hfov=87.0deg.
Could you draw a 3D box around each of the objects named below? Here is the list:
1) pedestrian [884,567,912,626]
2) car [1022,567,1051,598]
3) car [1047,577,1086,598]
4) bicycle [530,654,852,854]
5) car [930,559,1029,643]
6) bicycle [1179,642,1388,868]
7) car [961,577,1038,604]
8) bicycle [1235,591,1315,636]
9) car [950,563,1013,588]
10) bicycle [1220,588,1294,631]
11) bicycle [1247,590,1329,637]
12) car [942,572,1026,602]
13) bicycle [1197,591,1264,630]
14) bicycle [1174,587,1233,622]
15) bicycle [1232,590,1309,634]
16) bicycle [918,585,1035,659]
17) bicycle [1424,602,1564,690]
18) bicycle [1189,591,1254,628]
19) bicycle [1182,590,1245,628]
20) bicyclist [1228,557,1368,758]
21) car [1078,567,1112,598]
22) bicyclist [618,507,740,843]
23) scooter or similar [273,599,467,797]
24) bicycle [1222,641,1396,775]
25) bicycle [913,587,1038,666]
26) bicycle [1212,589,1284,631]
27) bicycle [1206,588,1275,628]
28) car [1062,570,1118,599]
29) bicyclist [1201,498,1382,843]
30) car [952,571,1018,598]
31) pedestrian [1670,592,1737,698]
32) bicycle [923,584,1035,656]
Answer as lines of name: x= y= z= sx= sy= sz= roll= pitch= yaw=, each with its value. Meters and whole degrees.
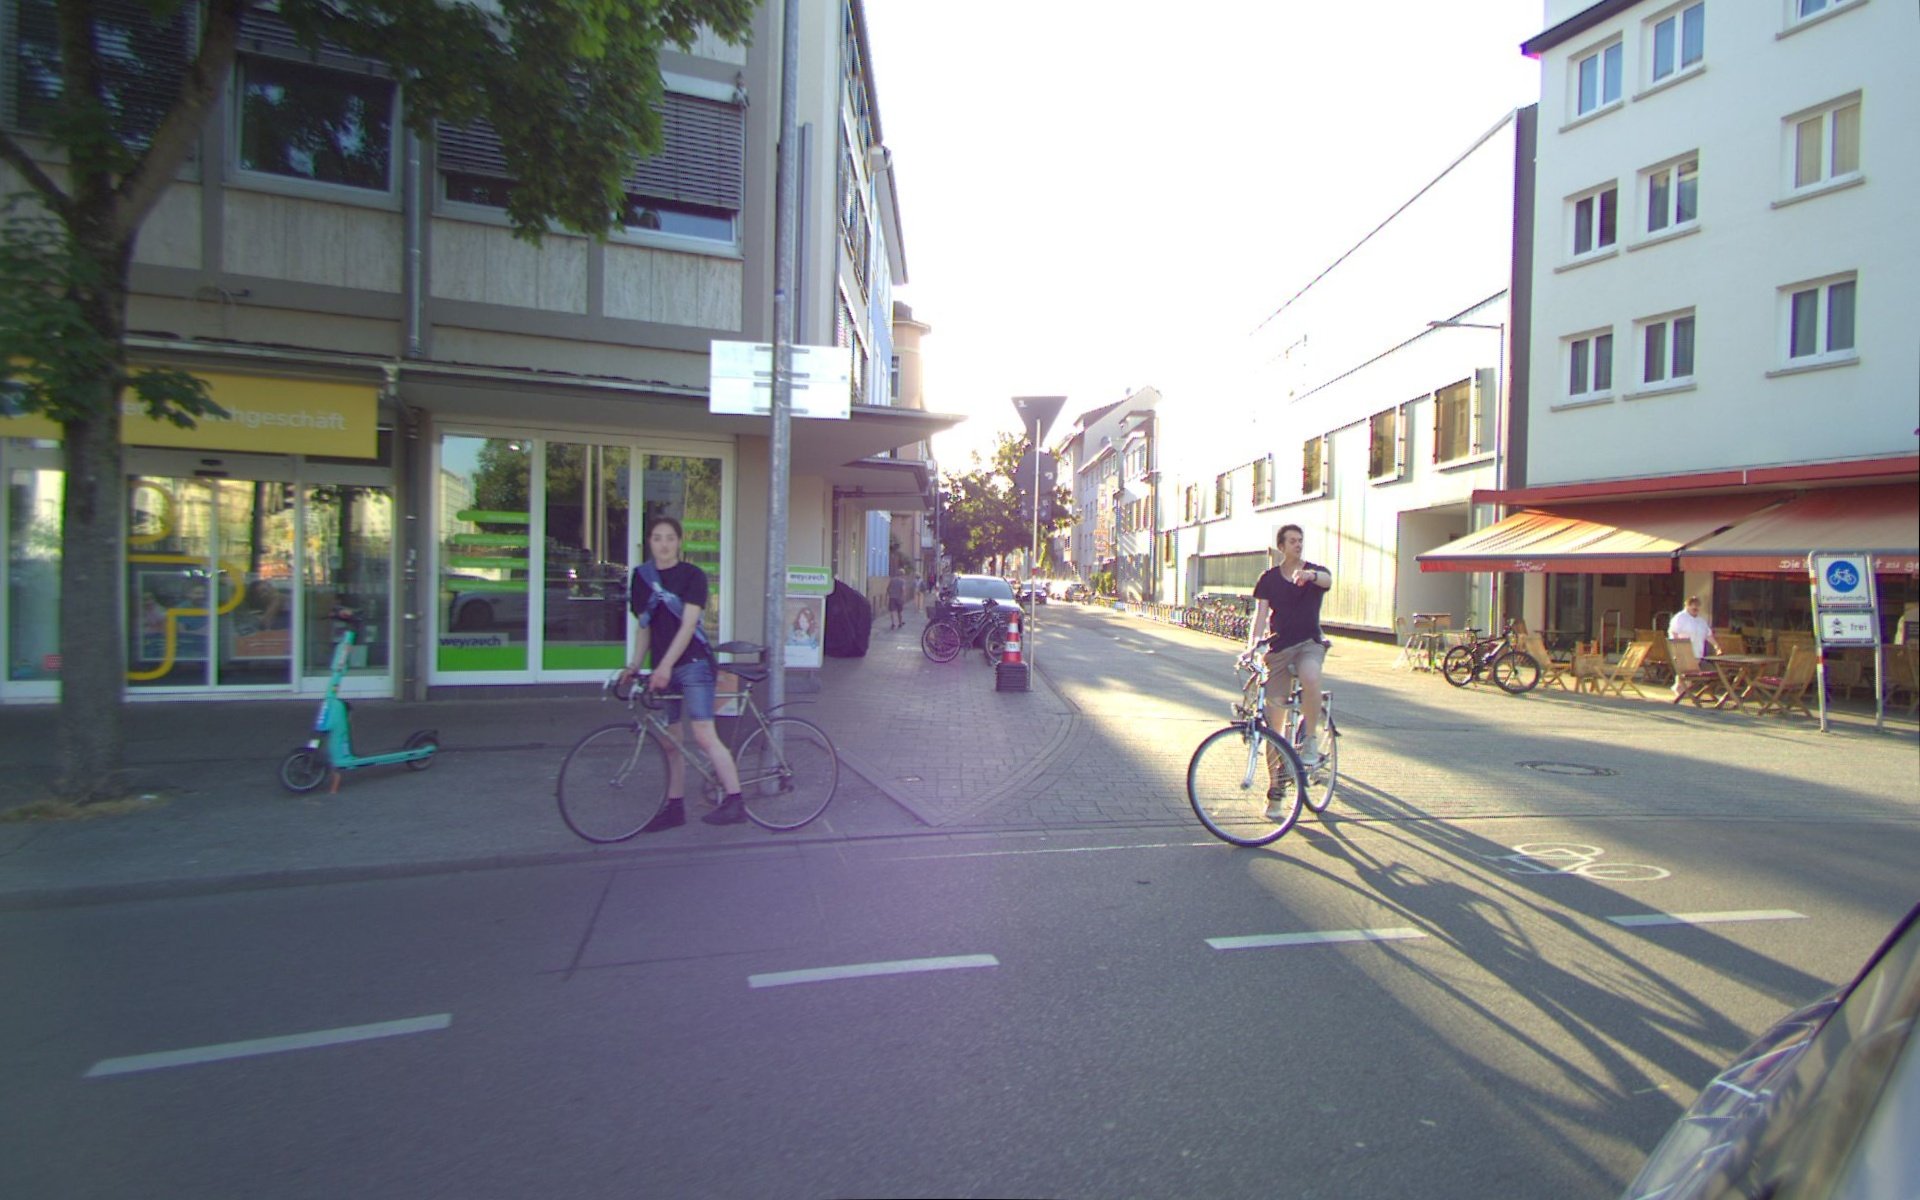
pedestrian: x=-1.666 y=-0.094 z=27.126 sx=0.664 sy=1.545 sz=0.600 roll=3 pitch=1 yaw=-2
car: x=5.241 y=-1.168 z=69.377 sx=1.964 sy=2.039 sz=3.995 roll=0 pitch=0 yaw=5
car: x=9.829 y=-1.157 z=93.853 sx=3.398 sy=1.867 sz=1.608 roll=0 pitch=0 yaw=0
bicycle: x=-1.550 y=0.845 z=5.980 sx=1.765 sy=0.982 sz=0.466 roll=1 pitch=1 yaw=-31
car: x=0.380 y=-0.033 z=24.206 sx=1.856 sy=1.771 sz=4.005 roll=2 pitch=1 yaw=-5
bicycle: x=2.102 y=0.851 z=6.356 sx=0.833 sy=1.033 sz=2.056 roll=2 pitch=1 yaw=30
car: x=2.236 y=-0.533 z=57.858 sx=3.916 sy=1.404 sz=2.004 roll=1 pitch=1 yaw=-23
bicycle: x=9.305 y=0.393 z=29.947 sx=2.073 sy=1.235 sz=0.704 roll=3 pitch=1 yaw=0
car: x=1.523 y=-1.702 z=70.760 sx=3.918 sy=1.627 sz=2.004 roll=1 pitch=1 yaw=-27
bicycle: x=9.373 y=0.307 z=31.948 sx=2.073 sy=1.235 sz=0.704 roll=3 pitch=1 yaw=0
bicycle: x=9.405 y=0.376 z=29.063 sx=2.073 sy=1.235 sz=0.704 roll=3 pitch=1 yaw=0
car: x=1.240 y=-0.660 z=51.838 sx=3.925 sy=1.449 sz=2.000 roll=0 pitch=2 yaw=-37
bicycle: x=9.301 y=0.345 z=34.857 sx=2.073 sy=1.235 sz=0.704 roll=3 pitch=1 yaw=0
bicycle: x=9.422 y=0.177 z=39.163 sx=2.070 sy=1.235 sz=0.705 roll=3 pitch=1 yaw=-7
bicycle: x=9.431 y=0.361 z=30.767 sx=2.073 sy=1.235 sz=0.704 roll=3 pitch=1 yaw=0
bicycle: x=0.292 y=0.387 z=18.672 sx=2.073 sy=1.235 sz=0.704 roll=3 pitch=1 yaw=0
bicycle: x=8.848 y=0.723 z=16.889 sx=0.689 sy=1.303 sz=2.118 roll=1 pitch=1 yaw=-20
bicycle: x=9.350 y=0.337 z=36.256 sx=2.073 sy=1.235 sz=0.704 roll=3 pitch=1 yaw=0
bicycle: x=9.262 y=0.323 z=37.000 sx=2.073 sy=1.235 sz=0.704 roll=3 pitch=1 yaw=0
bicyclist: x=2.952 y=0.463 z=8.961 sx=0.824 sy=1.643 sz=1.115 roll=1 pitch=1 yaw=1
car: x=8.971 y=-1.133 z=67.443 sx=1.964 sy=2.039 sz=4.252 roll=0 pitch=0 yaw=4
bicyclist: x=-1.644 y=0.408 z=5.907 sx=0.548 sy=1.853 sz=0.466 roll=1 pitch=1 yaw=-31
scooter or similar: x=-4.135 y=0.633 z=7.180 sx=0.334 sy=1.250 sz=1.270 roll=2 pitch=1 yaw=18
bicycle: x=2.967 y=0.882 z=8.860 sx=0.824 sy=0.892 sz=2.013 roll=1 pitch=1 yaw=1
bicycle: x=0.253 y=0.445 z=17.556 sx=2.073 sy=1.235 sz=0.704 roll=3 pitch=1 yaw=0
bicycle: x=9.407 y=0.324 z=33.073 sx=2.073 sy=1.235 sz=0.704 roll=3 pitch=1 yaw=0
bicycle: x=9.391 y=0.267 z=33.937 sx=2.073 sy=1.235 sz=0.704 roll=3 pitch=1 yaw=0
car: x=9.619 y=-1.143 z=74.967 sx=3.927 sy=2.039 sz=1.998 roll=0 pitch=0 yaw=3
bicyclist: x=2.111 y=0.379 z=6.371 sx=0.833 sy=1.941 sz=1.103 roll=2 pitch=1 yaw=30
car: x=1.678 y=-1.057 z=67.986 sx=3.918 sy=1.731 sz=2.004 roll=1 pitch=1 yaw=-27
pedestrian: x=11.238 y=0.663 z=15.301 sx=0.562 sy=1.560 sz=0.574 roll=0 pitch=1 yaw=-22
bicycle: x=0.360 y=0.387 z=19.918 sx=2.073 sy=1.235 sz=0.704 roll=4 pitch=1 yaw=0
